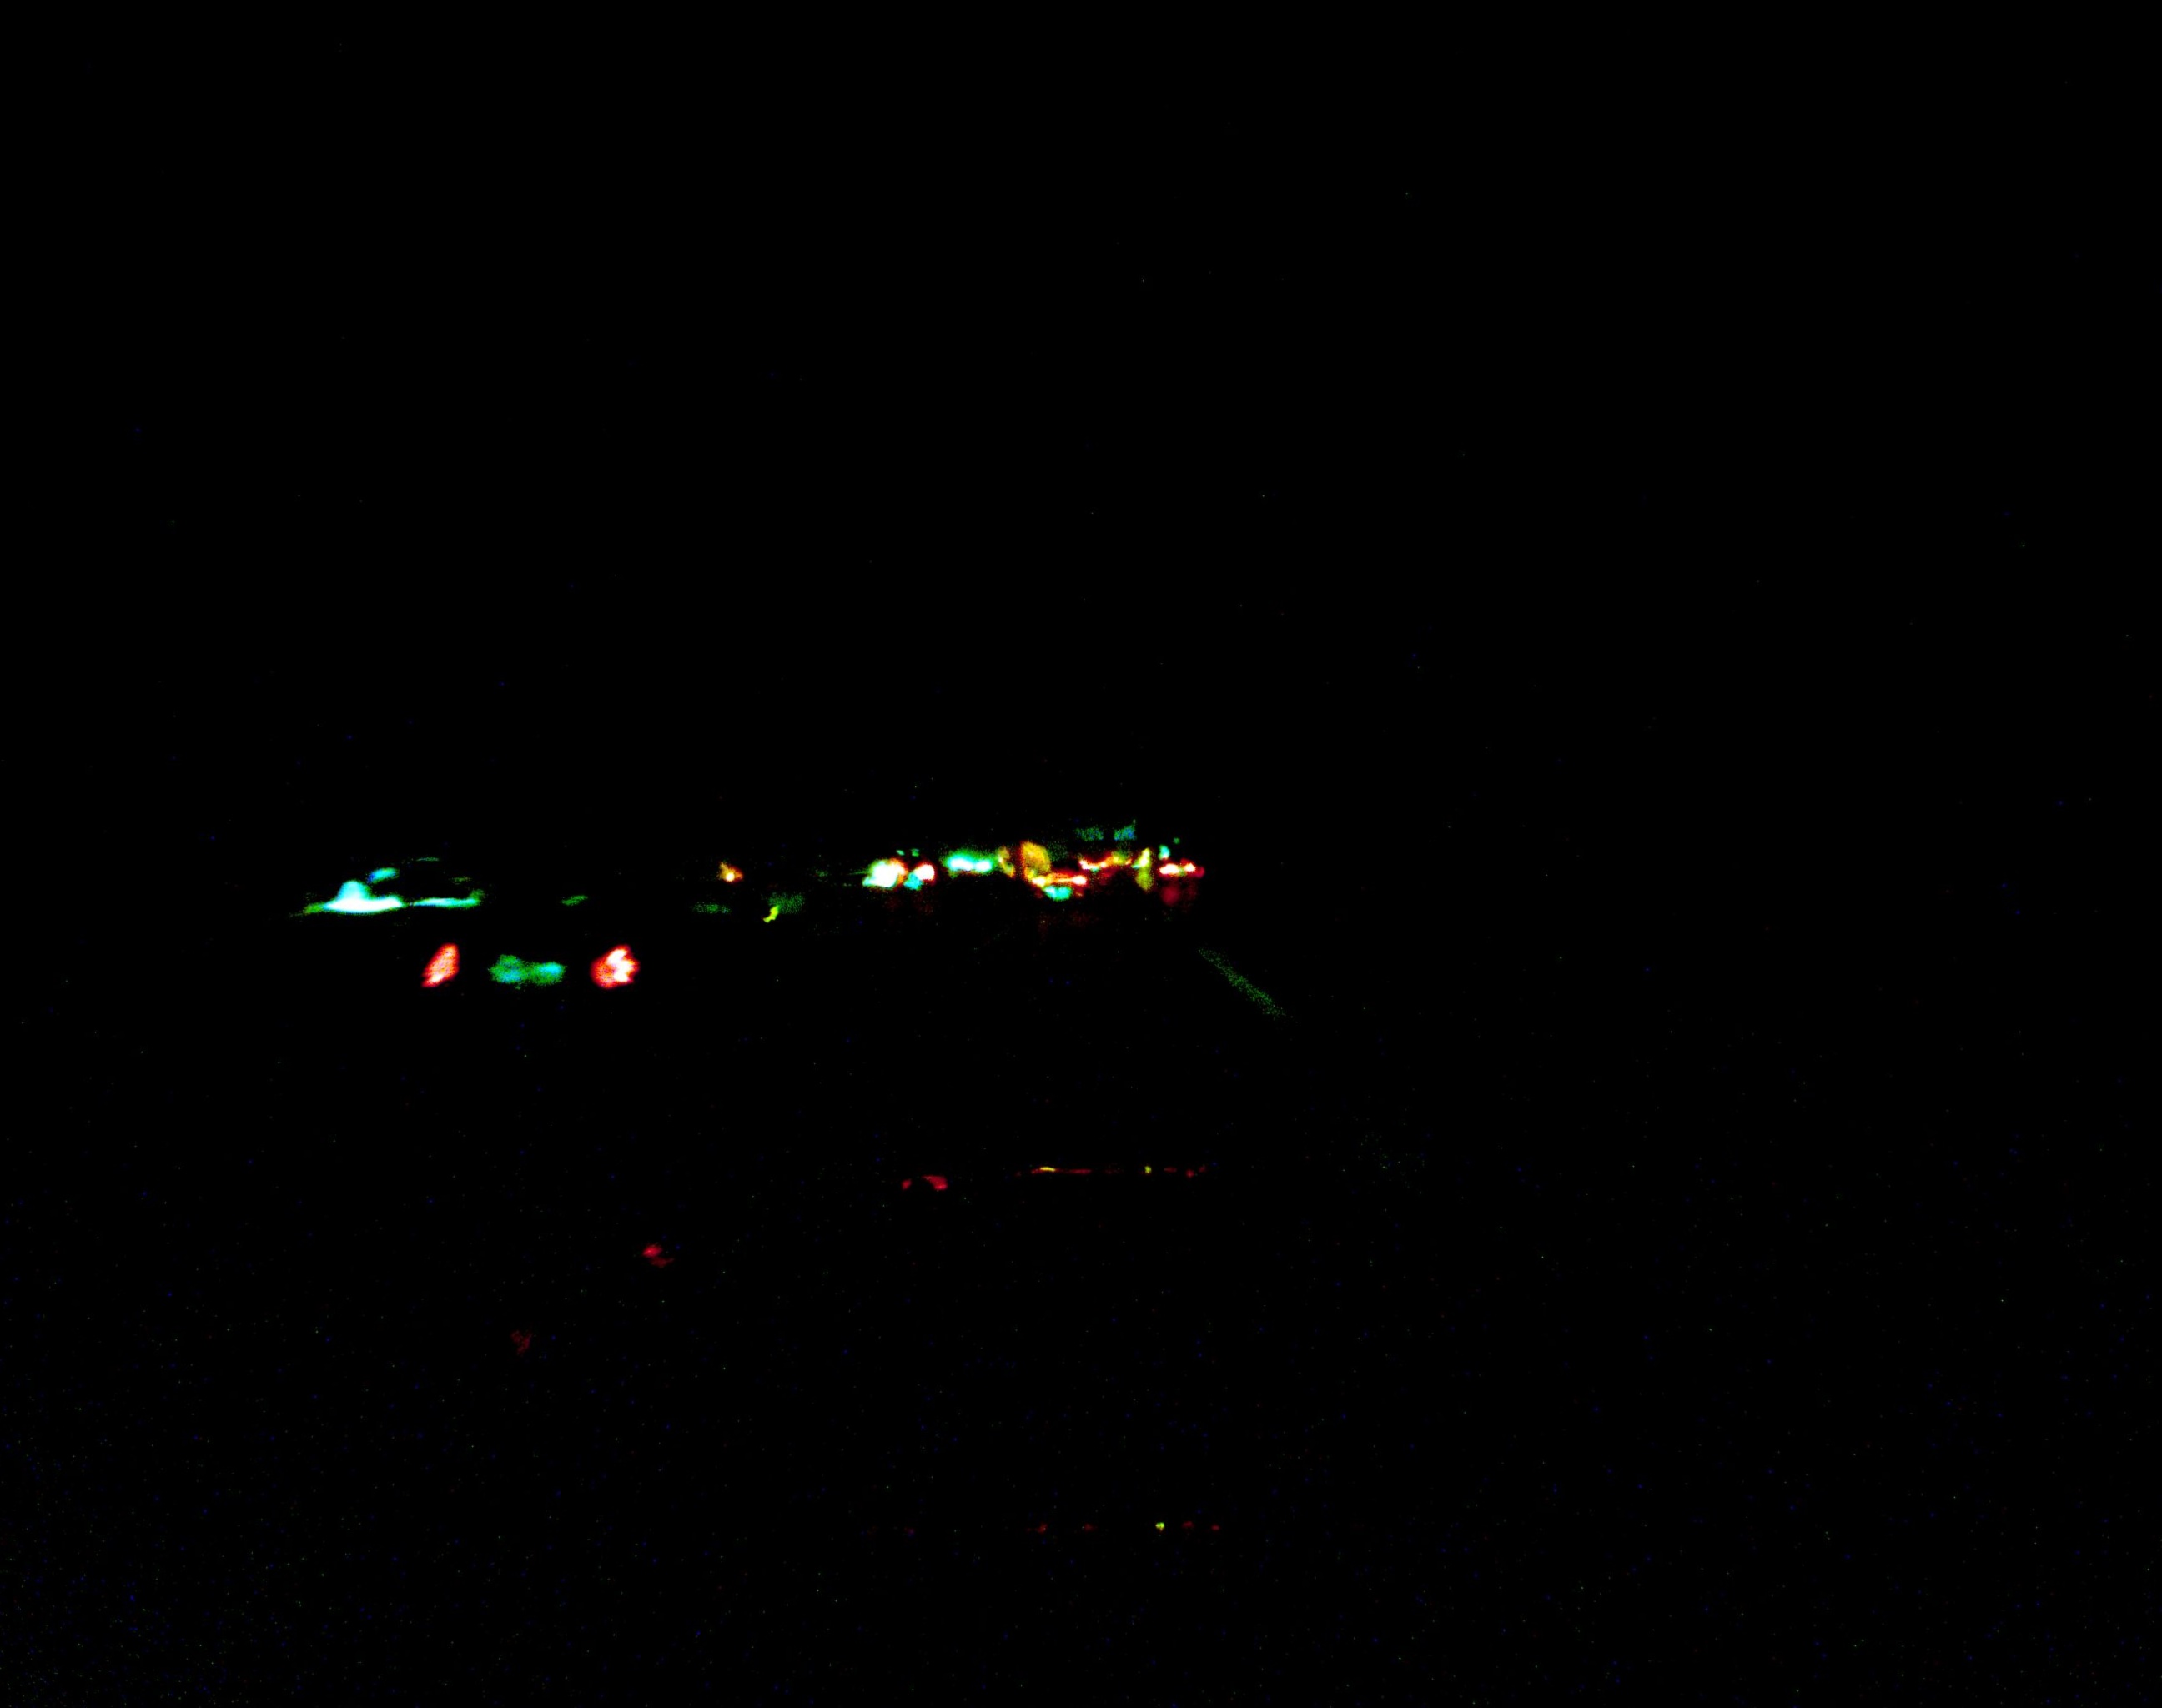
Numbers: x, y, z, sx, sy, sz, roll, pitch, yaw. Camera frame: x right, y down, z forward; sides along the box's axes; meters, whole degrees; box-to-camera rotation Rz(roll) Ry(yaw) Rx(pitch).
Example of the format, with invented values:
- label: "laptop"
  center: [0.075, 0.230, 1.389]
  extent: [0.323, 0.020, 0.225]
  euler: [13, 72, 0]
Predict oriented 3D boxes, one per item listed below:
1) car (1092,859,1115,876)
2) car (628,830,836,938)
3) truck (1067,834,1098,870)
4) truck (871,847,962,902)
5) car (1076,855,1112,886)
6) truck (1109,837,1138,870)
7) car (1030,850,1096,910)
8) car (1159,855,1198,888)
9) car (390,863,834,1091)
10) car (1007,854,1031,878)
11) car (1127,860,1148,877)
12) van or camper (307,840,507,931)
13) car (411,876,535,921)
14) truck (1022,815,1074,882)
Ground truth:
- label: "car"
  center: [2.905, 1.689, 103.035]
  extent: [2.822, 2.014, 5.513]
  euler: [0, -1, 2]
- label: "car"
  center: [-7.697, 0.600, 18.783]
  extent: [2.114, 2.104, 5.633]
  euler: [-1, 0, 3]
- label: "truck"
  center: [0.309, -0.200, 129.210]
  extent: [4.236, 5.444, 10.893]
  euler: [0, -1, 3]
- label: "truck"
  center: [-7.003, 0.842, 35.479]
  extent: [2.849, 2.201, 5.856]
  euler: [0, -1, -1]
- label: "car"
  center: [0.822, 0.979, 48.945]
  extent: [2.031, 1.761, 4.517]
  euler: [0, -1, 2]
- label: "truck"
  center: [6.781, -0.018, 131.688]
  extent: [4.149, 5.215, 9.949]
  euler: [0, -1, -1]
- label: "car"
  center: [-0.482, 0.741, 25.186]
  extent: [1.758, 1.689, 4.003]
  euler: [-1, 0, 2]
- label: "car"
  center: [5.370, 0.947, 45.362]
  extent: [1.870, 1.762, 4.002]
  euler: [0, -1, 2]
- label: "car"
  center: [-3.773, 0.843, 7.561]
  extent: [1.651, 1.431, 4.245]
  euler: [-1, 0, 0]
- label: "car"
  center: [-6.072, 1.216, 80.246]
  extent: [2.260, 2.273, 5.376]
  euler: [0, -1, -5]
- label: "car"
  center: [5.574, 1.428, 80.889]
  extent: [1.986, 1.704, 4.460]
  euler: [0, -1, 2]
- label: "van or camper"
  center: [-30.196, 1.327, 37.079]
  extent: [2.505, 3.701, 7.682]
  euler: [0, -1, 2]
- label: "car"
  center: [-24.028, 1.710, 32.395]
  extent: [1.670, 1.627, 4.206]
  euler: [0, -1, 2]
- label: "truck"
  center: [-2.547, -0.333, 63.080]
  extent: [3.647, 4.737, 9.843]
  euler: [0, -1, -2]
